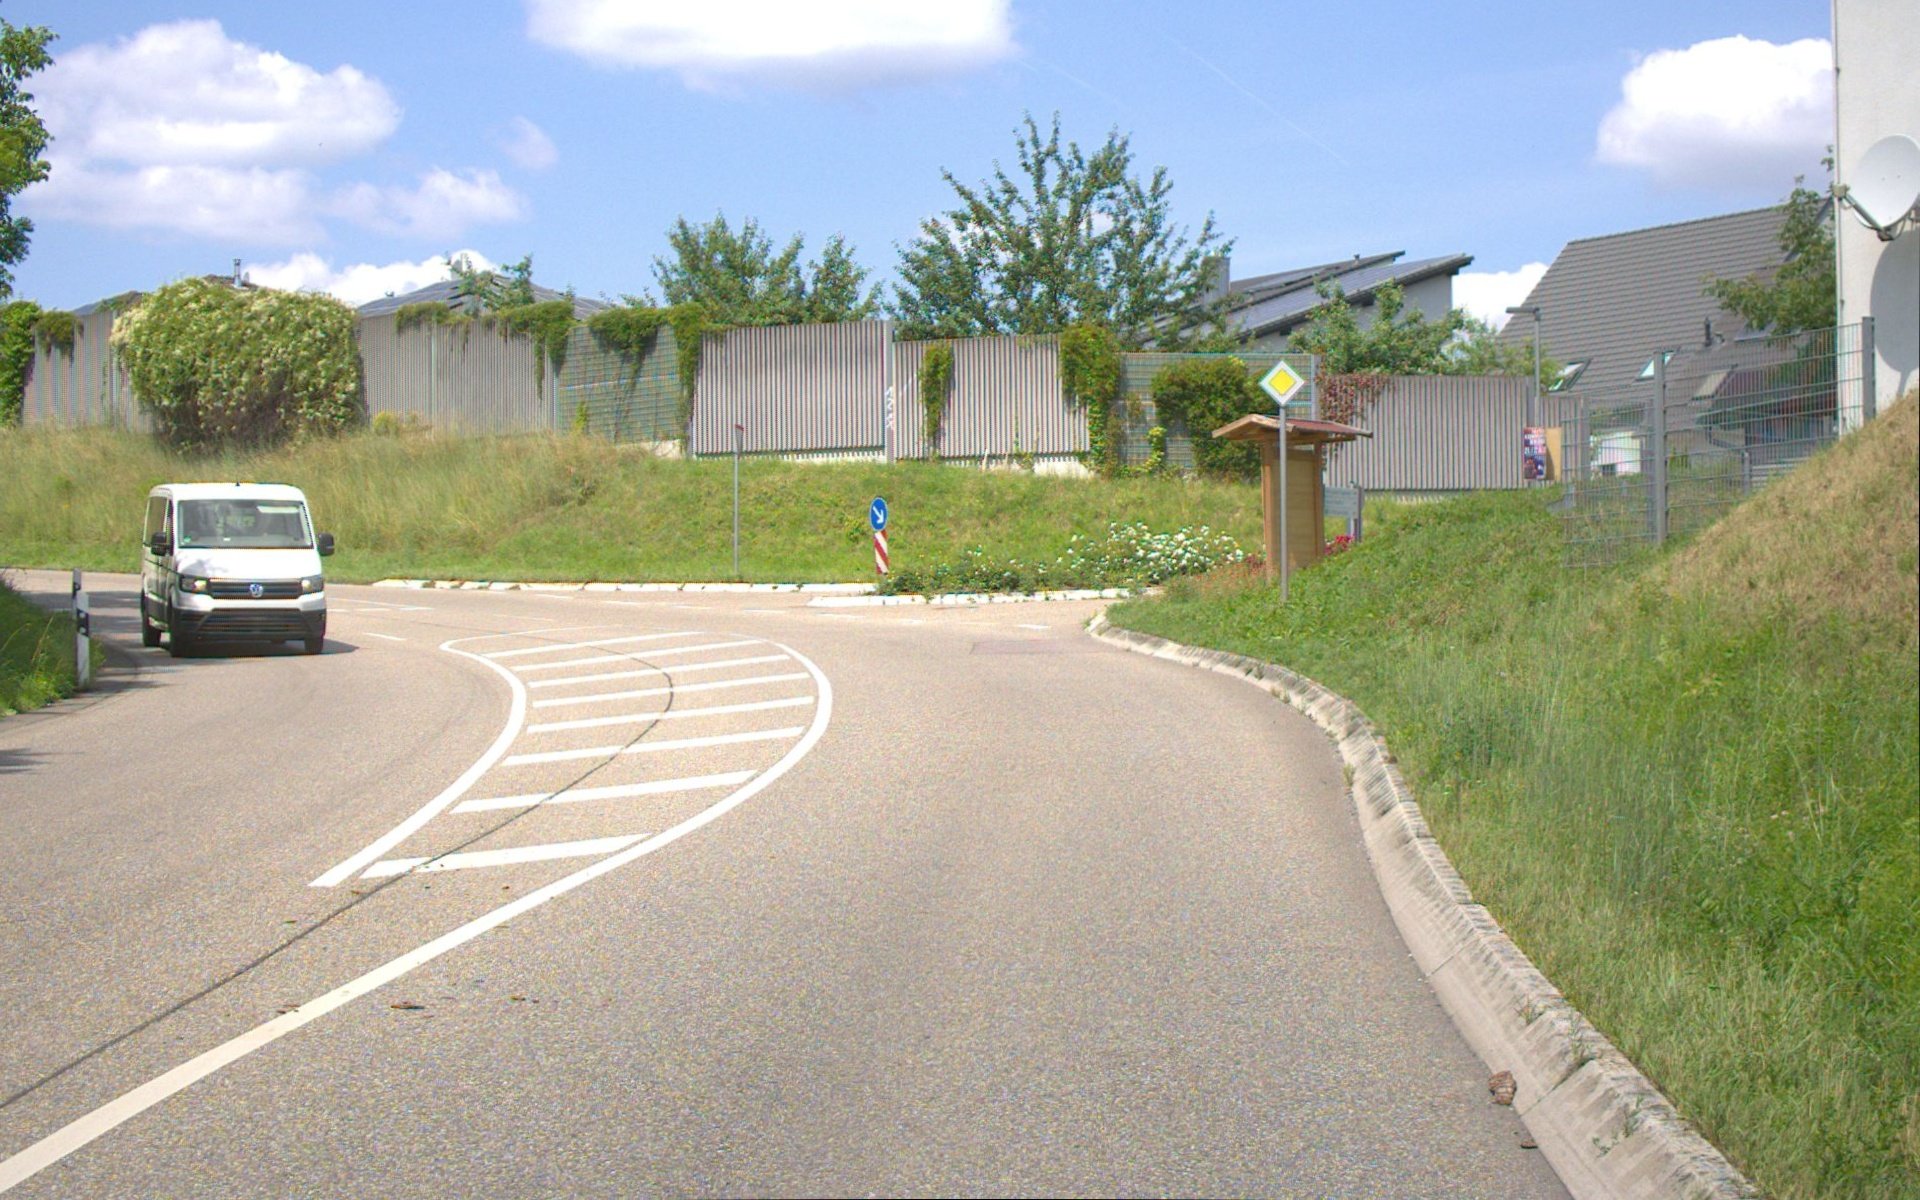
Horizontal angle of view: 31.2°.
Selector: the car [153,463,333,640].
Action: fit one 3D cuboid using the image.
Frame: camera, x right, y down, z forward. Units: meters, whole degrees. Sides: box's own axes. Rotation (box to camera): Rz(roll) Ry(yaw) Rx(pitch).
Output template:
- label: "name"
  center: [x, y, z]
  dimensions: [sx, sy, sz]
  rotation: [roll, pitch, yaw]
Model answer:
- label: "car"
  center: [-9.964, -0.673, 47.421]
  dimensions: [2.085, 2.282, 5.948]
  rotation: [-1, 1, -15]
